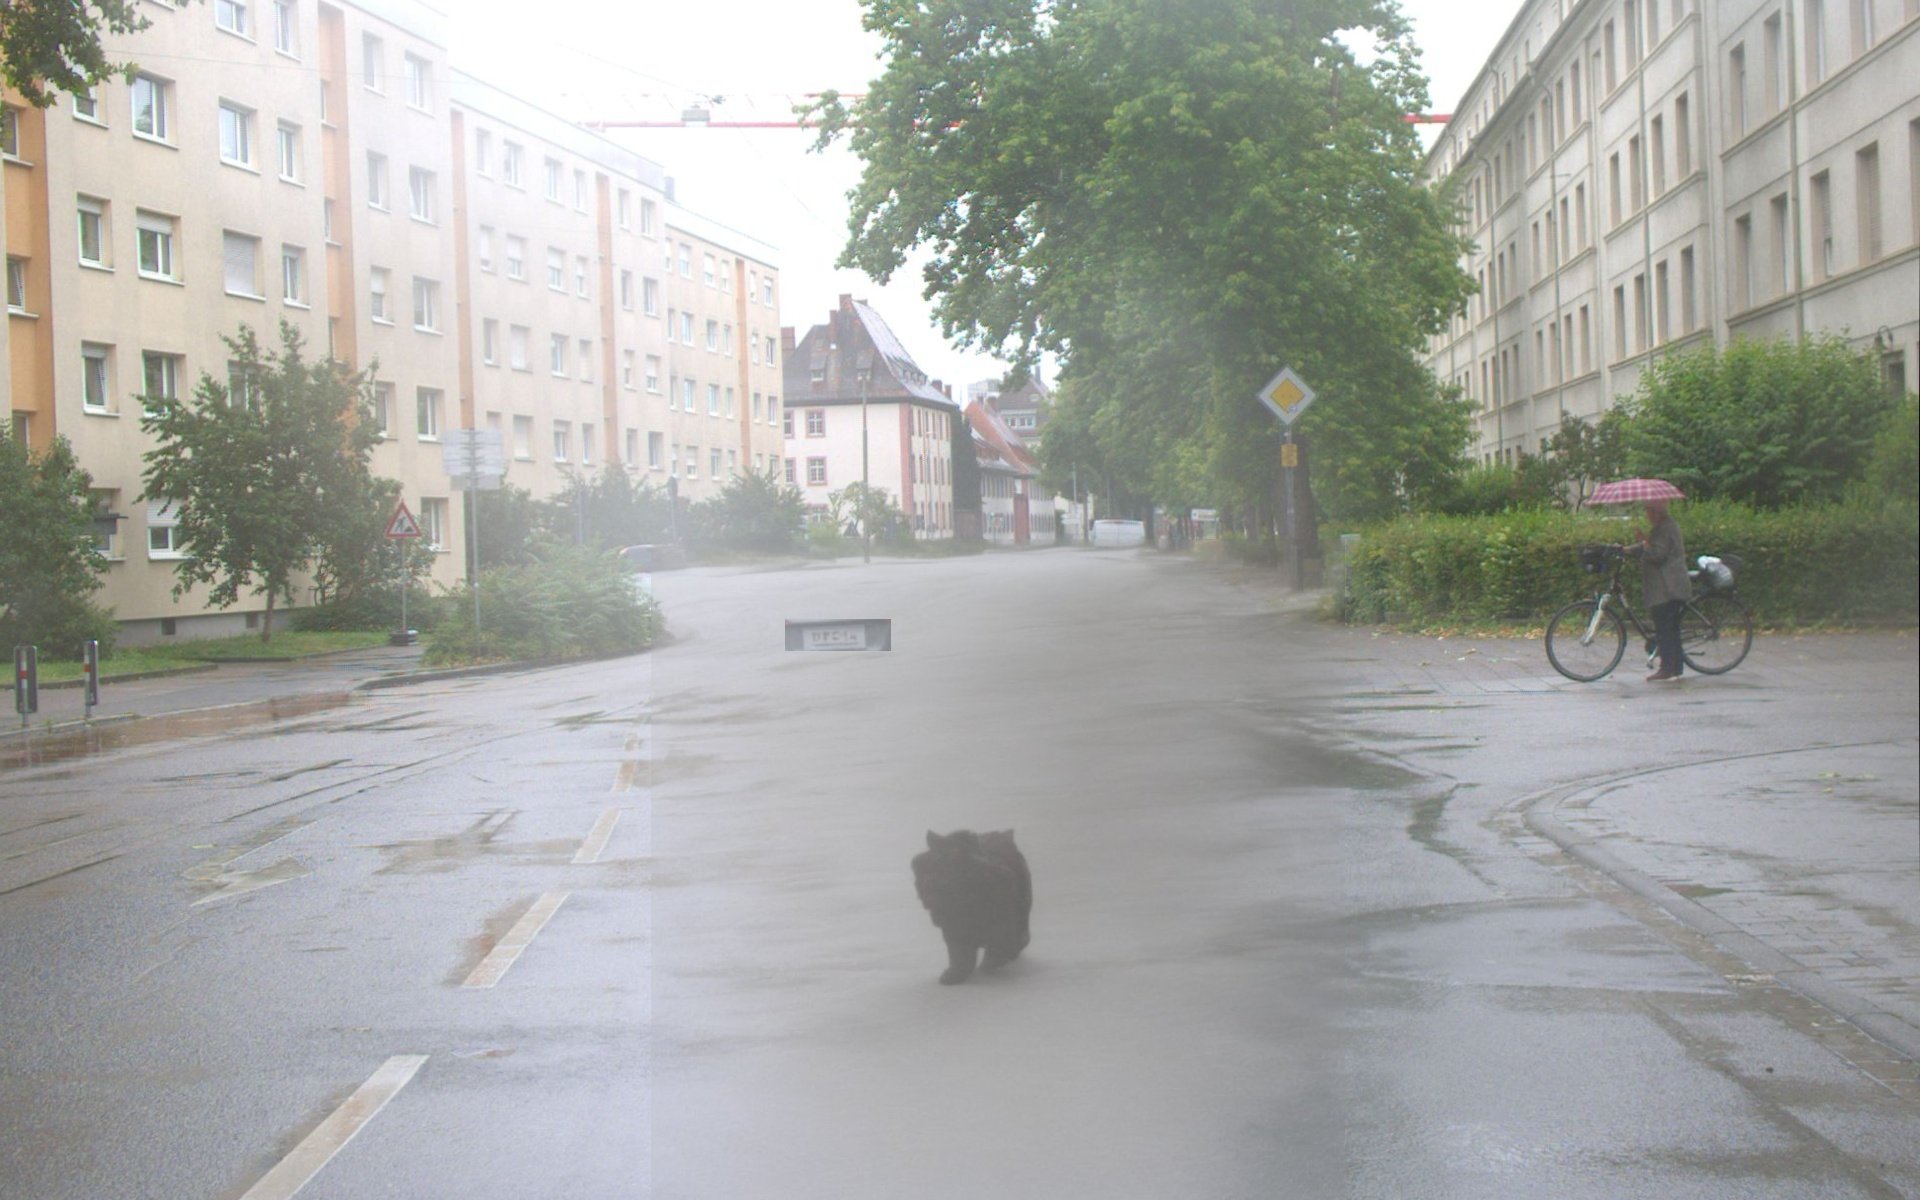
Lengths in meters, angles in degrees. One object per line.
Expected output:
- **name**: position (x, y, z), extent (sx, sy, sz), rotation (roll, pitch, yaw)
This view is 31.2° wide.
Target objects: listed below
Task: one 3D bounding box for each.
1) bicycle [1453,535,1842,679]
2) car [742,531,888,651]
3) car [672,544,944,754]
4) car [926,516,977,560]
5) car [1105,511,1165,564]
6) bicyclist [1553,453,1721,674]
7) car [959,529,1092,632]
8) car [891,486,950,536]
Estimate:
- **bicycle**: position (6.019, 0.043, 30.099), extent (3.205, 1.108, 1.054), rotation (-2, 1, -18)
- **car**: position (-1.778, -0.150, 43.256), extent (1.607, 1.367, 4.000), rotation (-3, 1, 0)
- **car**: position (-1.023, 0.298, 24.705), extent (1.791, 1.368, 3.507), rotation (-1, 1, 0)
- **car**: position (-0.360, -2.691, 149.000), extent (1.890, 1.830, 4.000), rotation (-2, 1, 4)
- **car**: position (6.360, -2.268, 124.734), extent (2.047, 1.830, 4.791), rotation (-2, 1, 4)
- **bicyclist**: position (5.900, -0.321, 30.010), extent (0.938, 1.862, 1.143), rotation (-2, 1, -18)
- **car**: position (1.042, -0.331, 56.566), extent (1.993, 1.568, 4.000), rotation (-2, 1, -1)
- **car**: position (-1.500, -3.409, 132.112), extent (1.890, 1.830, 4.000), rotation (-2, 1, 4)
